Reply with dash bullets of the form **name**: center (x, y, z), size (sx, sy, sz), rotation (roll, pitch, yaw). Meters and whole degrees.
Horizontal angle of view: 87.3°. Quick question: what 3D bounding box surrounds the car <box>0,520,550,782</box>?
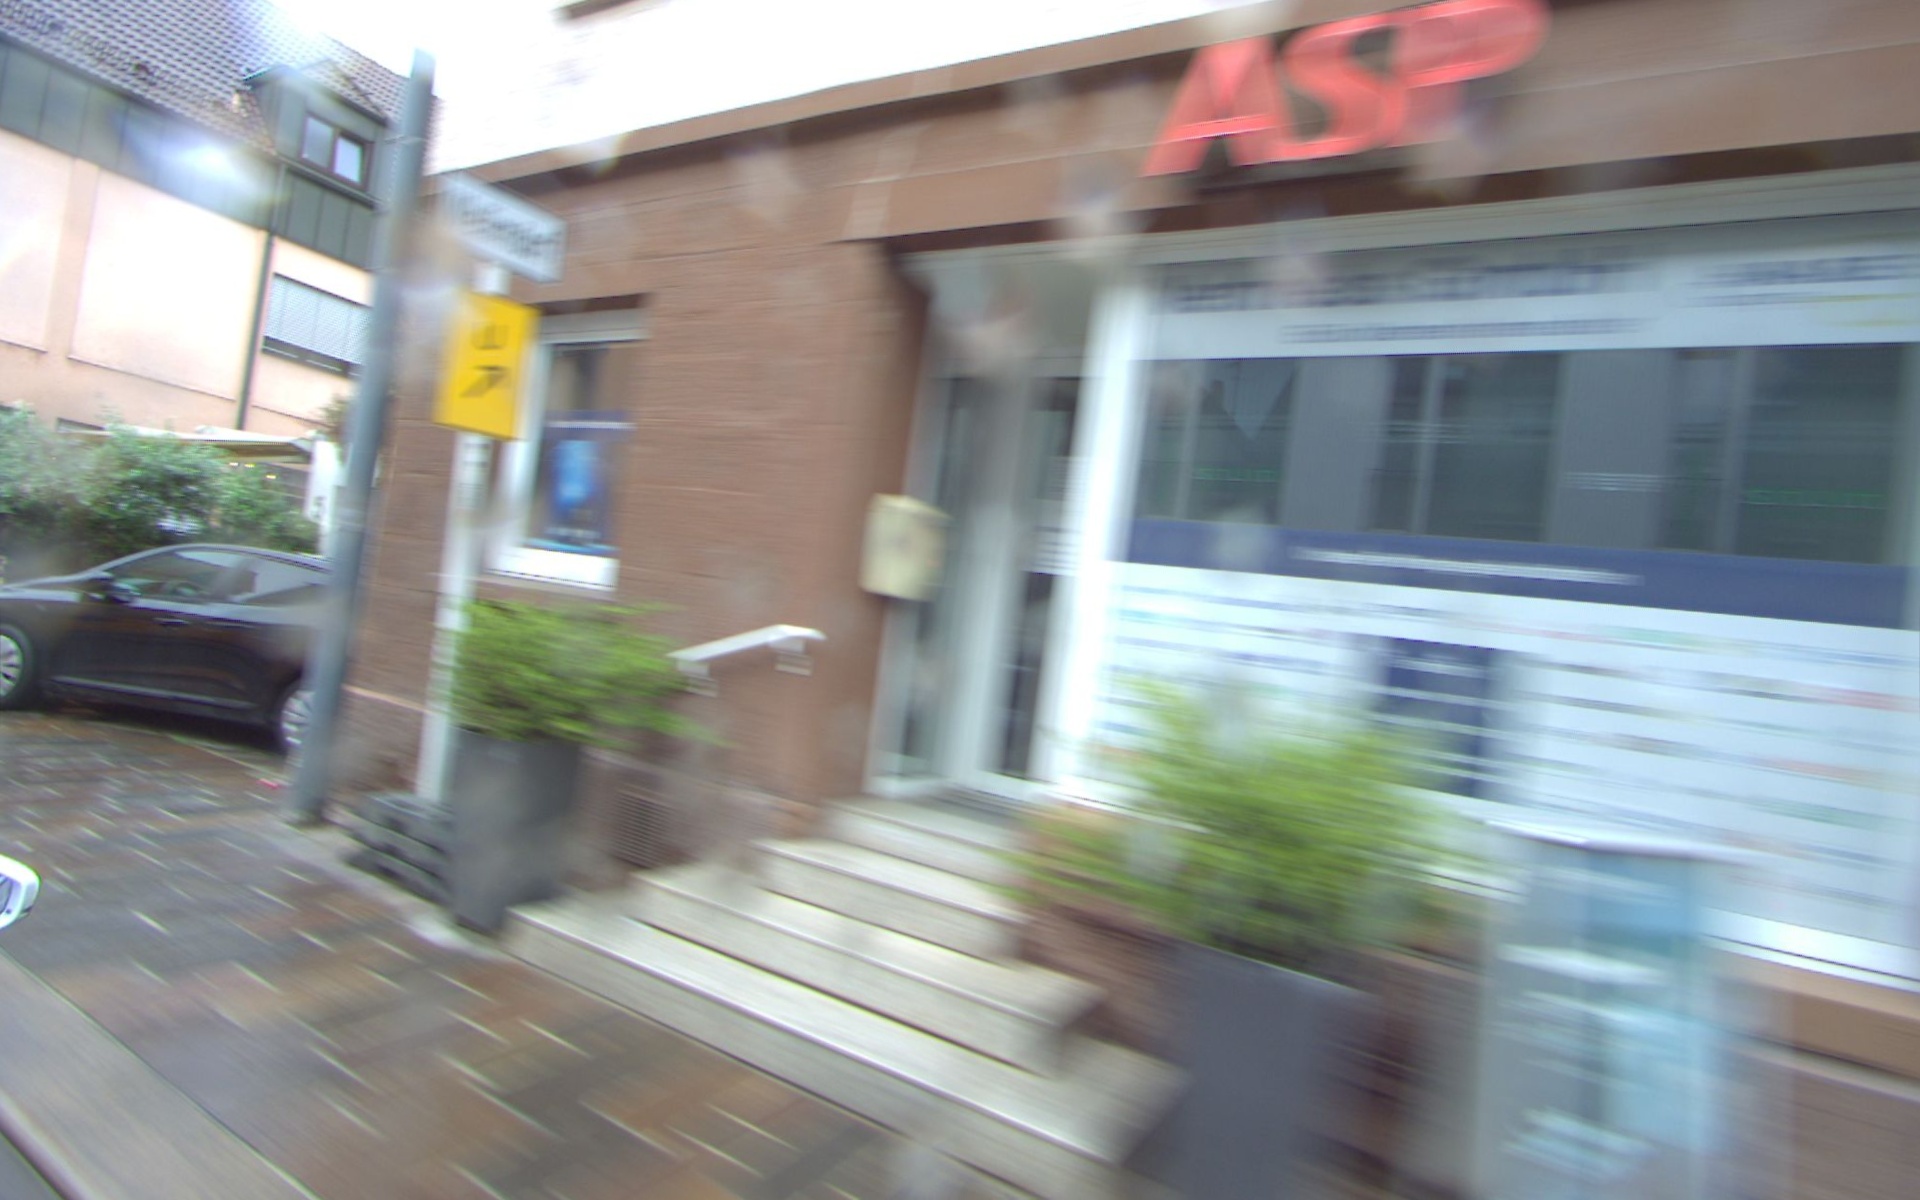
- **car**: center (-5.533, 0.335, 7.823), size (3.861, 1.372, 1.741), rotation (7, -2, 7)
